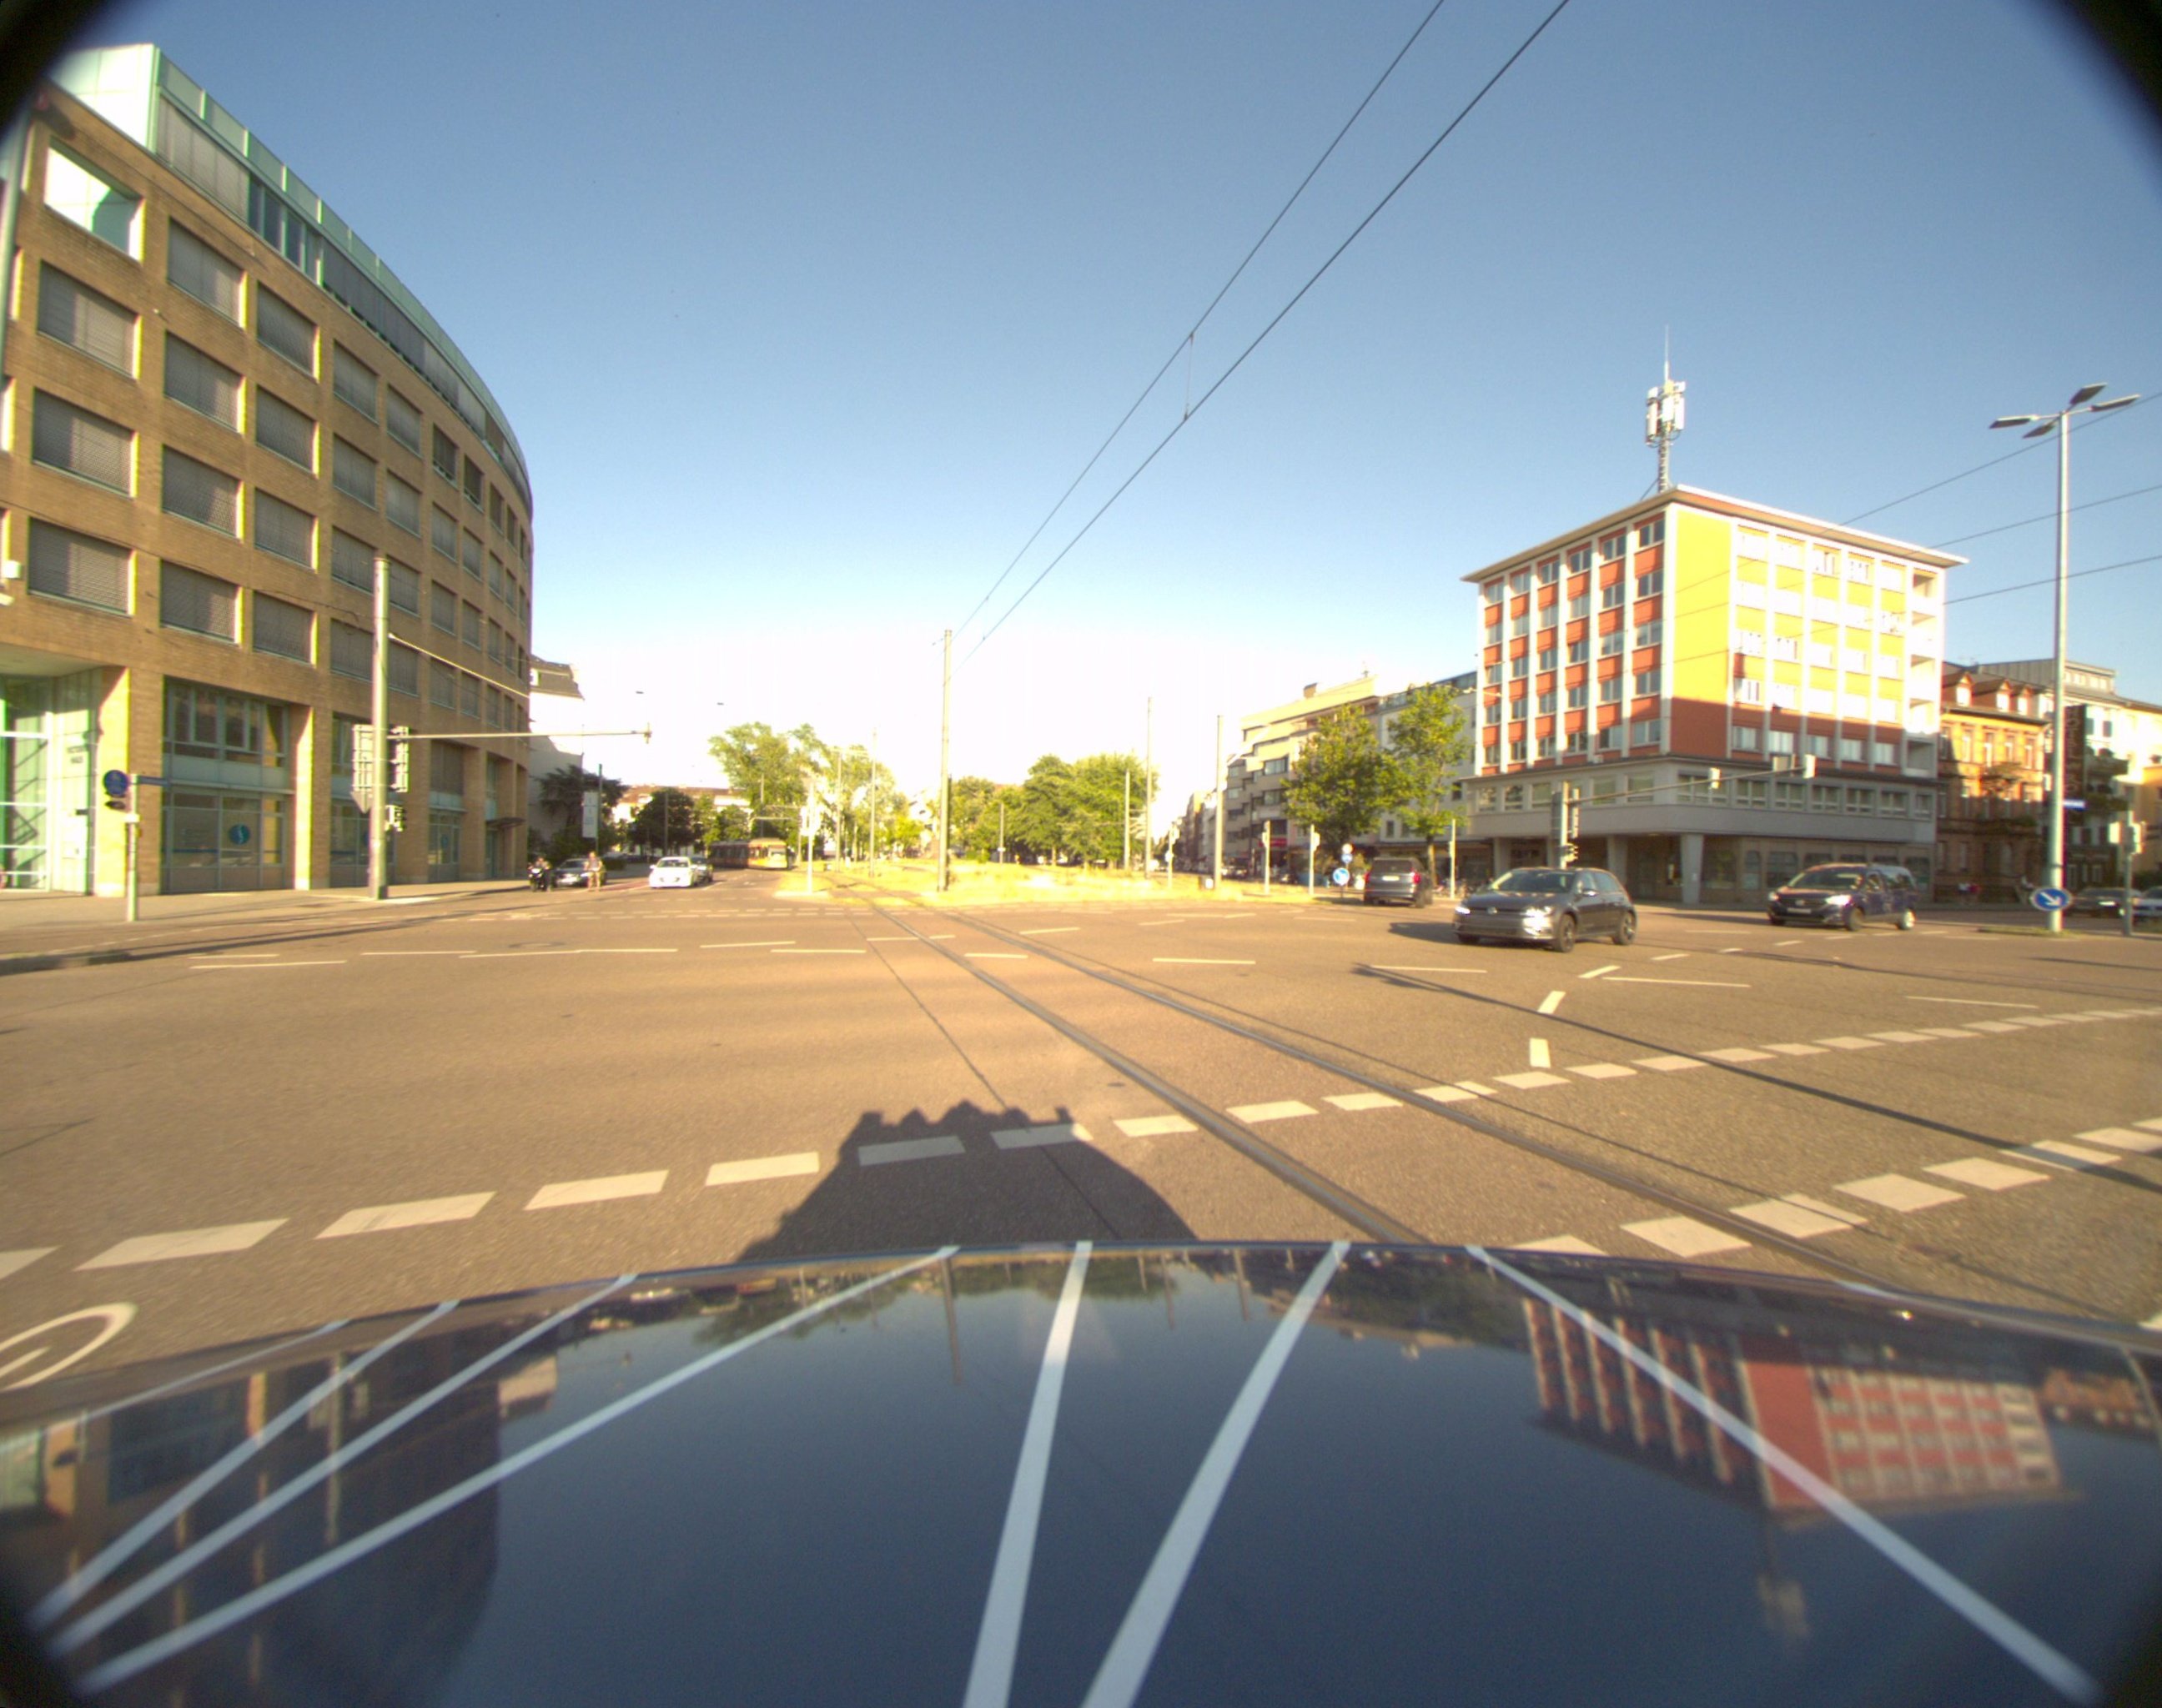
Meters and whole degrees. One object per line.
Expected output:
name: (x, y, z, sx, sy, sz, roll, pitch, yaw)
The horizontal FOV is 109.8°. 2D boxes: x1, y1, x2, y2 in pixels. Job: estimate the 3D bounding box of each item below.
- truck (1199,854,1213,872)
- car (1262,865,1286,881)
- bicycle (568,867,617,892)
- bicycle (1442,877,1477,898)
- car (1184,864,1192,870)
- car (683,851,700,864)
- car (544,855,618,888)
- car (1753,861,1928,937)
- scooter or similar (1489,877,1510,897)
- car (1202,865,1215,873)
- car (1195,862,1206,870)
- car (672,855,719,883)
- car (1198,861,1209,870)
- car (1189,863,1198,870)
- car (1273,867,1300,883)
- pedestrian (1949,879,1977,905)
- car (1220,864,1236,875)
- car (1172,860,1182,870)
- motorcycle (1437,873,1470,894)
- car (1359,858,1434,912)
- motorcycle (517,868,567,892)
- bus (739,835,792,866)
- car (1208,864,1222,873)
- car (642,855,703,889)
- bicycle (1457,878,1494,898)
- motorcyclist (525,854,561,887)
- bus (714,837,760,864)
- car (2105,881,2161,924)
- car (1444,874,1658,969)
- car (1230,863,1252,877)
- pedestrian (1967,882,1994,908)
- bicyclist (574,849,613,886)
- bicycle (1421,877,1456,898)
truck: (23.147, 1.637, 140.625, 1.738, 3.201, 6.409, 1, 0, 2)
car: (20.285, 2.010, 79.930, 1.639, 1.537, 3.637, 1, 0, 2)
bicycle: (-21.102, 1.080, 32.892, 1.155, 0.994, 2.964, 1, 0, -20)
bicycle: (22.860, 2.020, 45.919, 0.594, 1.108, 2.003, 2, 1, -20)
car: (26.301, 3.132, 187.272, 1.495, 1.366, 3.425, 1, 0, 2)
car: (-57.856, 0.480, 112.978, 1.847, 1.807, 3.993, 1, 0, -21)
car: (-25.450, 0.856, 38.859, 1.988, 1.528, 4.489, 1, 0, -18)
car: (20.620, 1.173, 20.623, 4.473, 1.843, 1.892, 1, 1, -25)
scooter or similar: (27.011, 2.125, 49.105, 0.484, 1.228, 1.561, 1, 1, 1)
car: (22.306, 2.574, 132.911, 1.738, 1.376, 3.625, 1, 0, 2)
car: (24.185, 2.455, 154.233, 1.769, 1.692, 3.581, 1, 0, 2)
car: (-21.829, 0.822, 43.141, 1.822, 1.483, 4.058, 1, 0, -19)
car: (23.769, 2.287, 147.671, 1.769, 1.692, 3.581, 1, 0, 2)
car: (26.389, 2.976, 178.240, 1.805, 1.585, 3.678, 1, 0, 2)
car: (18.691, 1.897, 69.285, 1.639, 1.419, 3.637, 1, 0, 2)
pedestrian: (57.229, 2.479, 49.328, 1.012, 1.580, 0.785, 1, 4, -22)
car: (20.406, 2.138, 105.736, 1.739, 1.376, 3.392, 1, 0, 2)
car: (18.652, 2.115, 147.953, 1.648, 1.803, 3.490, 1, 0, 2)
motorcycle: (24.461, 1.948, 49.898, 2.270, 1.384, 0.842, 1, -1, -31)
car: (11.544, 1.026, 27.602, 1.994, 1.713, 5.041, 1, 0, 29)
motorcycle: (-23.639, 1.121, 33.387, 1.033, 0.958, 2.722, 1, 0, -19)
bus: (-35.038, -0.360, 84.052, 2.416, 3.191, 11.086, 1, 0, -39)
car: (21.070, 2.225, 119.375, 1.738, 1.376, 3.625, 1, 0, 2)
car: (-19.478, 0.824, 36.398, 1.997, 1.483, 4.169, 1, 0, -20)
bicycle: (24.046, 2.068, 46.364, 0.594, 1.108, 2.057, 2, 1, -21)
motorcyclist: (-23.638, 0.714, 33.398, 1.033, 1.427, 1.067, 1, 0, -19)
bus: (-42.049, -0.425, 92.623, 2.358, 3.191, 11.048, 1, 0, -40)
car: (41.409, 1.814, 28.836, 4.004, 1.531, 1.905, 1, 0, -19)
car: (8.611, 1.123, 13.803, 4.278, 1.450, 1.767, 2, -1, -35)
car: (19.958, 1.981, 94.866, 1.962, 1.547, 3.874, 1, 0, 2)
pedestrian: (57.621, 2.612, 48.686, 1.012, 1.580, 0.737, 1, 4, -23)
bicyclist: (-21.109, 0.578, 32.932, 1.155, 1.562, 1.224, 1, 0, -20)
bicycle: (21.304, 1.969, 45.356, 0.594, 1.109, 1.974, 2, 1, -21)
